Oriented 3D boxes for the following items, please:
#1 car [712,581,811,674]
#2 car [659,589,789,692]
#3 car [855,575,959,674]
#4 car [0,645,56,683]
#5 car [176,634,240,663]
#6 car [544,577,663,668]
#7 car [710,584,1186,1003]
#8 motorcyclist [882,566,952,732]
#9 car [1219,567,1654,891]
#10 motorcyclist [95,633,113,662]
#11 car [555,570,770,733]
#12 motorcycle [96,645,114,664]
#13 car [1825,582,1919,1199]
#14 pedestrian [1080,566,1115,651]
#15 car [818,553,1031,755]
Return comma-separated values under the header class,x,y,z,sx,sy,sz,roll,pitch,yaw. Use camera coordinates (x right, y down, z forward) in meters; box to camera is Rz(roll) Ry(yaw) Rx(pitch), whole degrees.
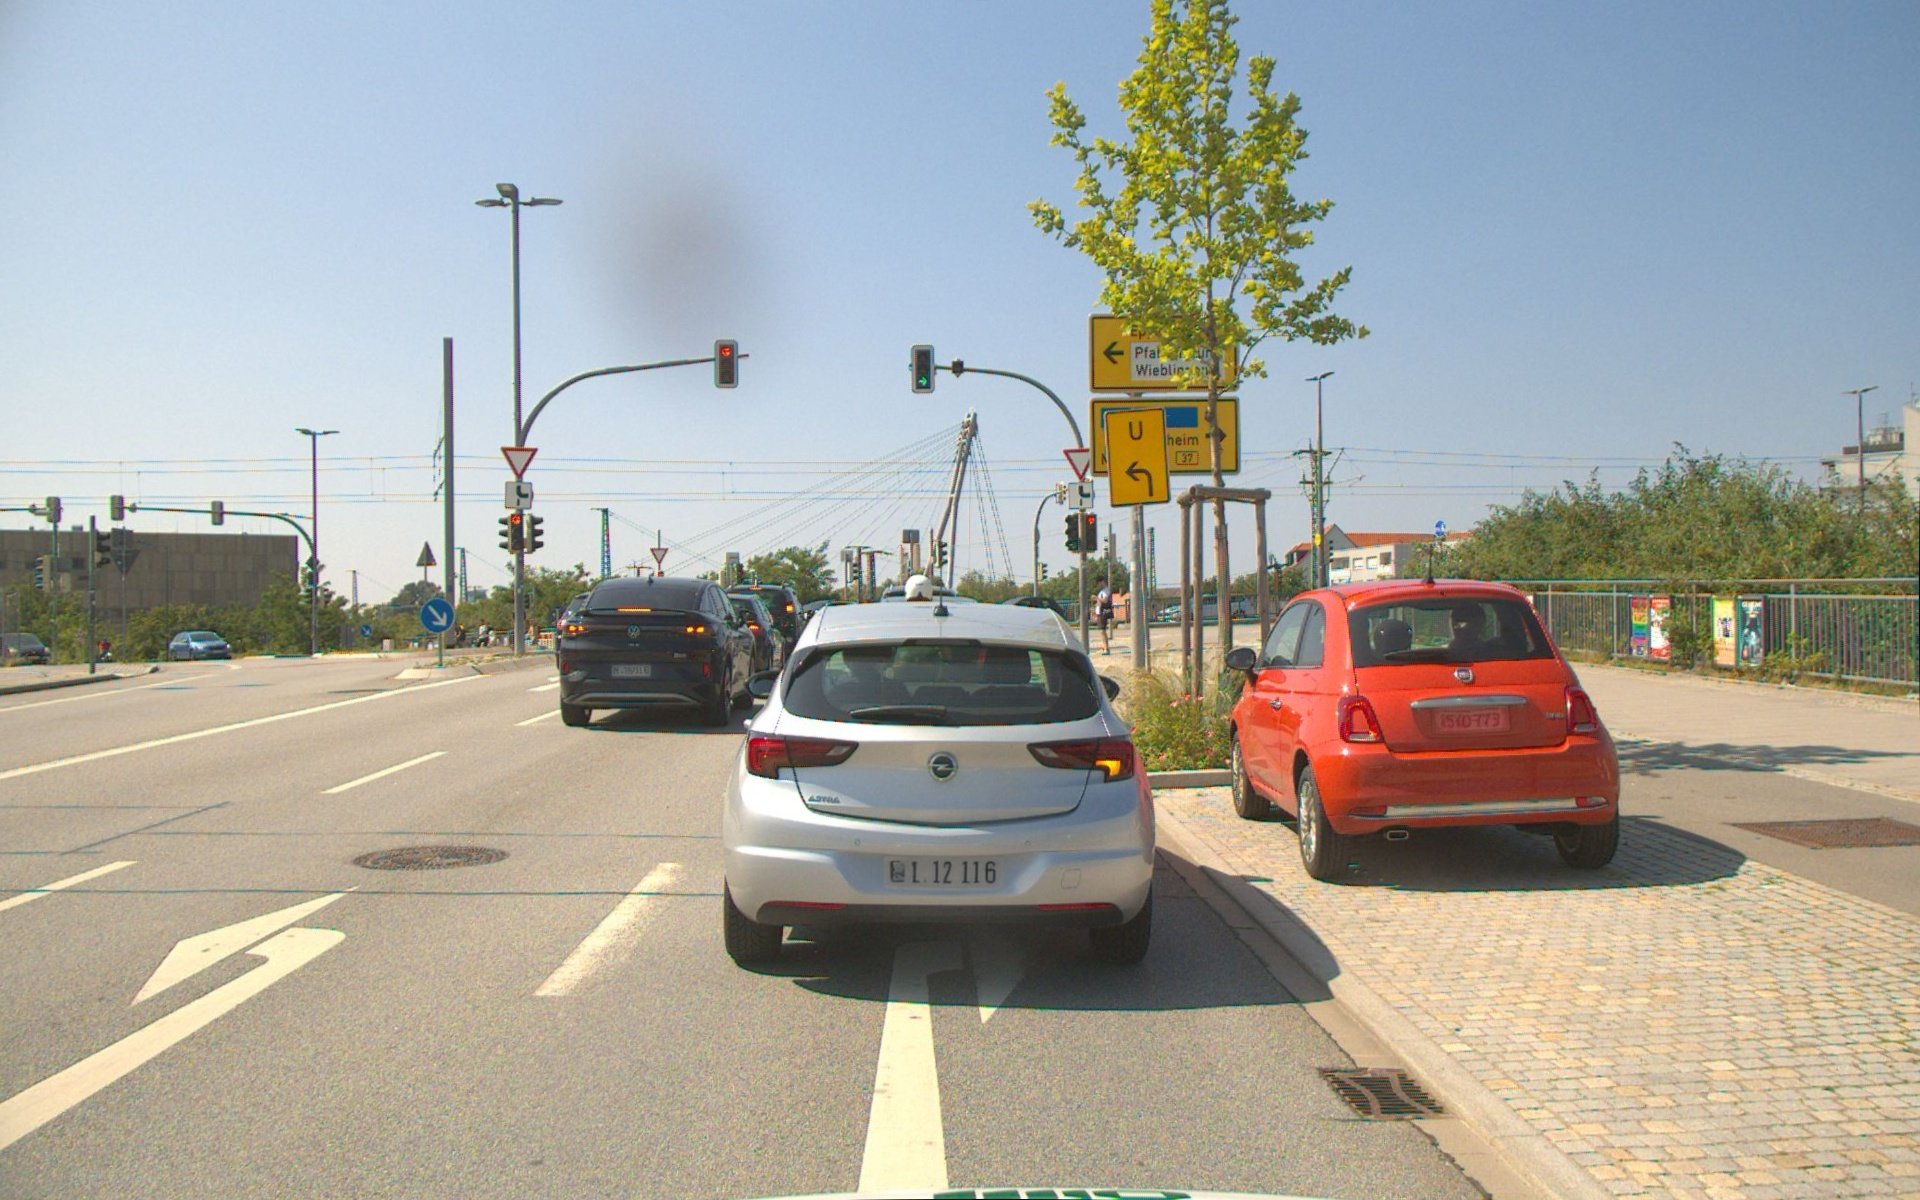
class,x,y,z,sx,sy,sz,roll,pitch,yaw
car,-3.756,0.504,31.782,1.616,1.643,3.818,1,0,-3
car,-3.580,0.592,25.607,1.543,1.459,3.785,1,0,-2
car,-0.889,0.378,29.144,1.689,1.591,4.000,1,1,-1
car,-41.215,2.824,73.115,1.662,1.502,3.358,-1,1,-39
car,-36.207,2.331,79.610,1.806,1.354,3.941,1,-2,-40
car,-6.584,0.399,30.891,1.565,1.574,3.760,1,0,-3
car,-0.146,0.715,8.000,1.708,1.503,3.997,1,0,-3
motorcyclist,-0.367,0.424,14.512,0.570,1.413,0.707,1,-1,0
car,2.595,0.620,9.770,1.577,1.522,3.352,-2,0,0
motorcyclist,-45.254,2.498,87.432,0.746,1.520,0.668,1,-1,-38
car,-3.348,0.545,19.392,1.765,1.670,4.365,1,0,-1
motorcycle,-45.203,2.869,87.391,0.515,0.971,1.908,1,0,-37
car,2.915,0.647,1.922,1.627,1.451,3.999,-2,0,-1
pedestrian,3.107,0.187,37.342,0.634,1.868,0.797,-2,0,-3
car,-0.359,0.473,17.565,1.953,1.852,4.401,1,1,-1
